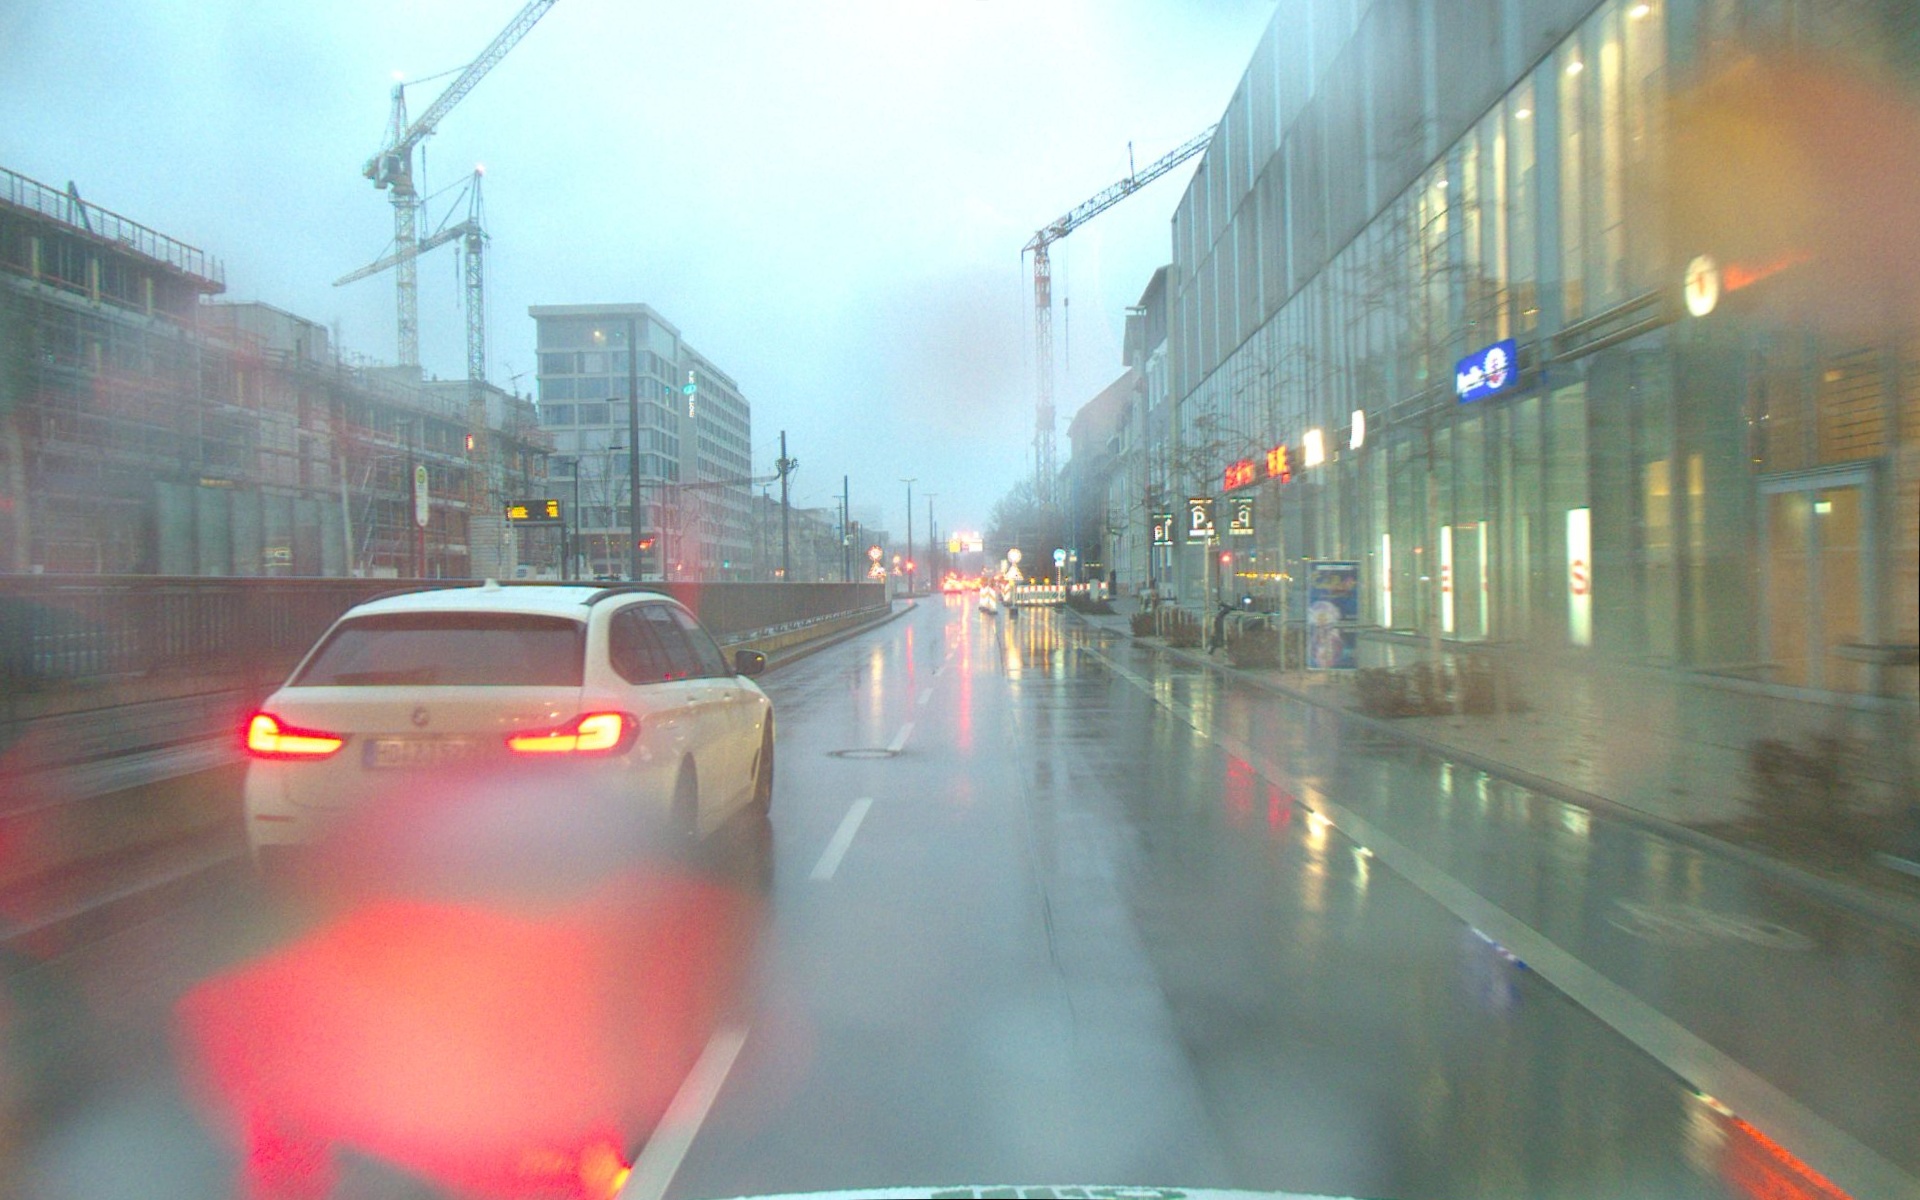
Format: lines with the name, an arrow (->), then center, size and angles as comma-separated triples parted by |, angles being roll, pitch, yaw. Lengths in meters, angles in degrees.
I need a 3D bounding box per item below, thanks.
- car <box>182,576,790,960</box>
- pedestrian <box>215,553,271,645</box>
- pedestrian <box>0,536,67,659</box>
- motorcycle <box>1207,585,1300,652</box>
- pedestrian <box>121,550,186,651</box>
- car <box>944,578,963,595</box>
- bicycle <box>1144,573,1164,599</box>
car -> -2.098, 0.625, 8.912 | 1.814, 1.491, 4.947 | 0, 1, 0
pedestrian -> -12.482, -0.029, 28.806 | 0.571, 1.577, 0.741 | 0, 0, 11
pedestrian -> -13.290, -0.043, 23.636 | 0.571, 1.731, 0.741 | 0, 0, 11
motorcycle -> 6.122, 0.387, 34.543 | 1.875, 1.357, 0.592 | -1, -1, 41
pedestrian -> -12.717, 0.004, 26.091 | 0.571, 1.577, 0.741 | 0, 0, 11
car -> -0.699, -1.403, 170.816 | 1.862, 1.670, 4.001 | 0, 1, 1
bicycle -> 9.572, -0.675, 81.663 | 0.668, 1.243, 1.905 | -4, 0, 0
